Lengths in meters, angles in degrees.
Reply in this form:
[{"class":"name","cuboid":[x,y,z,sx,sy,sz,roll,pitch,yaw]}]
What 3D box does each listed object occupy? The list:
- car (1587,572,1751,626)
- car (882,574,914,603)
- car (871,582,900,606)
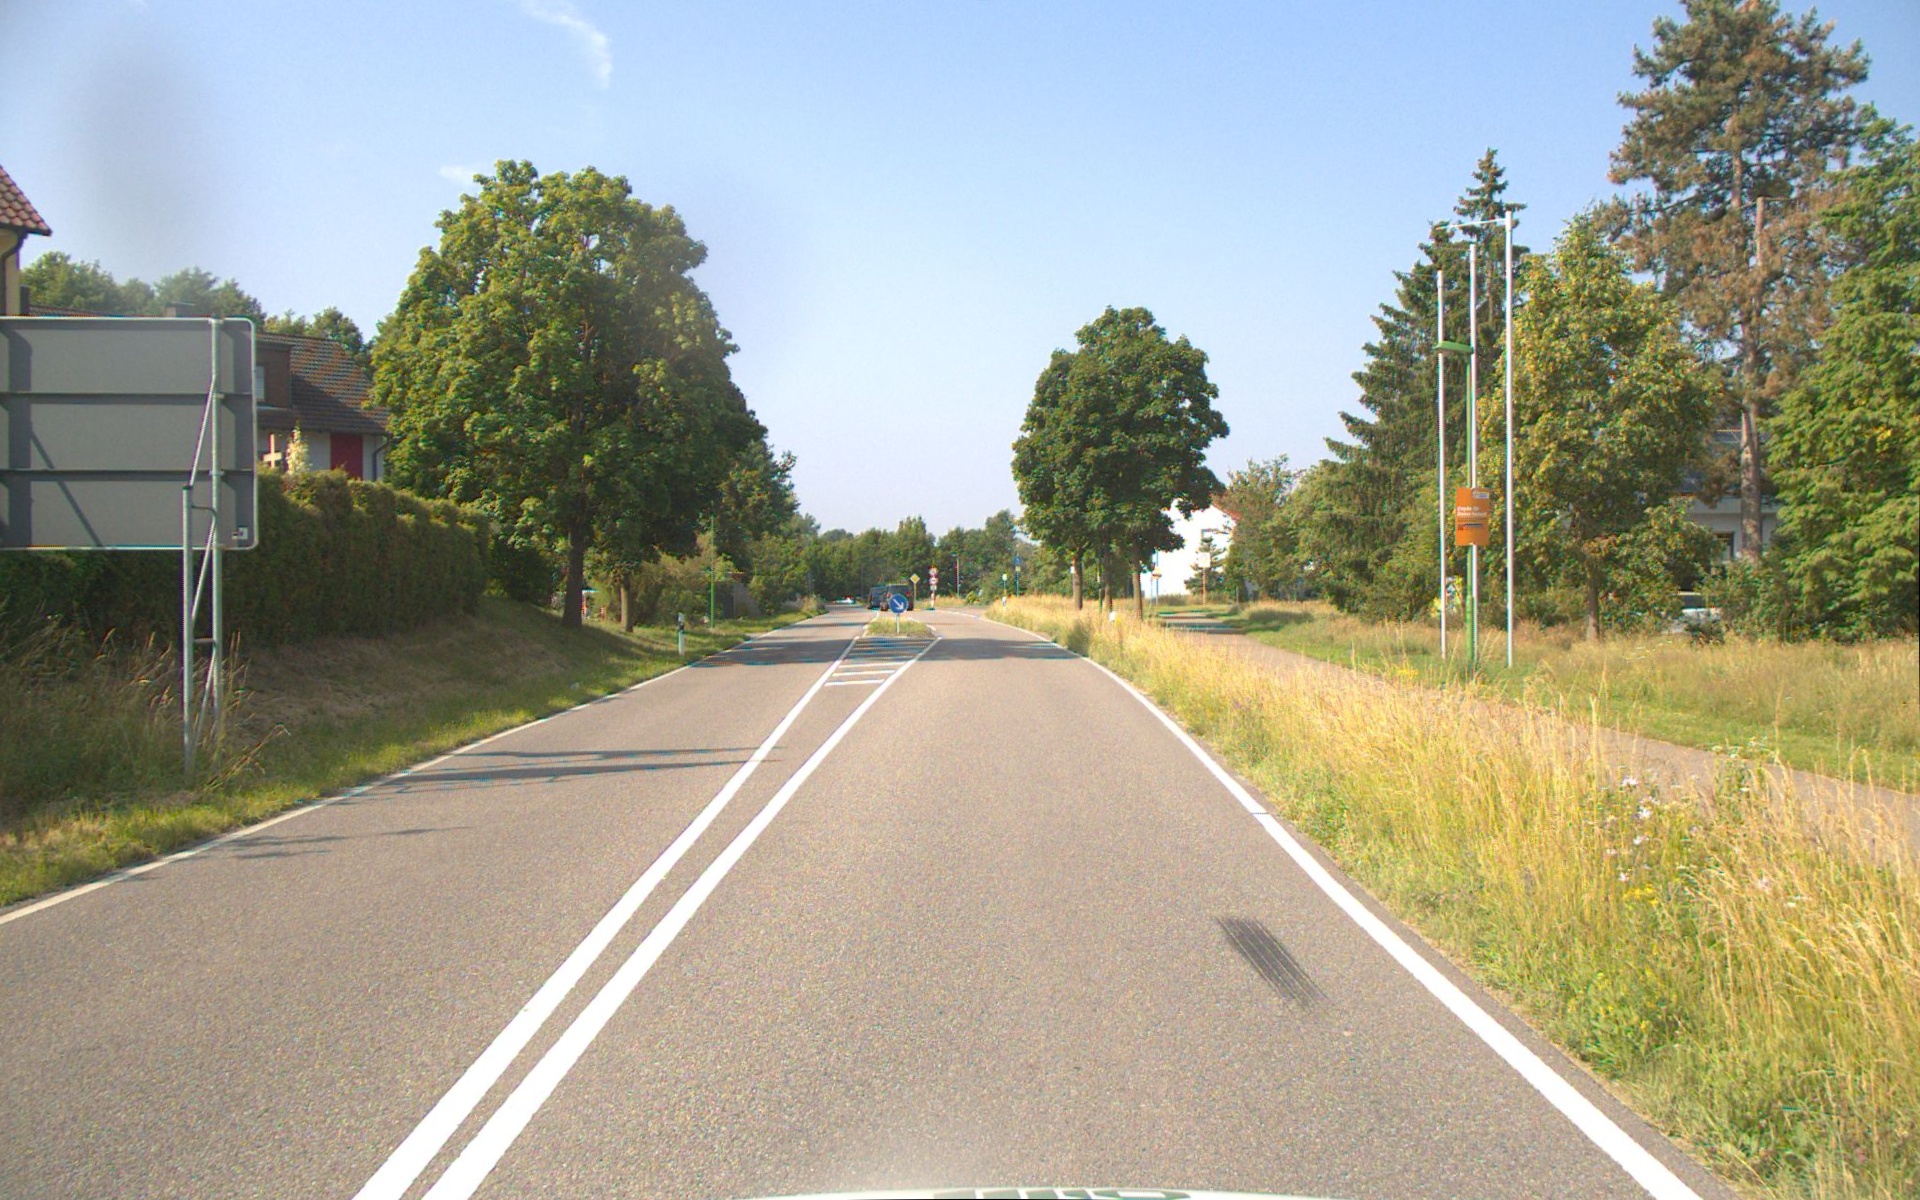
[{"class":"car","cuboid":[20.093,-0.032,46.950,3.911,1.459,1.812,-1,0,-7]},{"class":"car","cuboid":[-4.002,-0.730,105.672,1.887,1.802,3.997,0,1,-4]},{"class":"car","cuboid":[-5.664,-0.486,125.797,1.965,1.802,3.995,0,1,-6]}]
